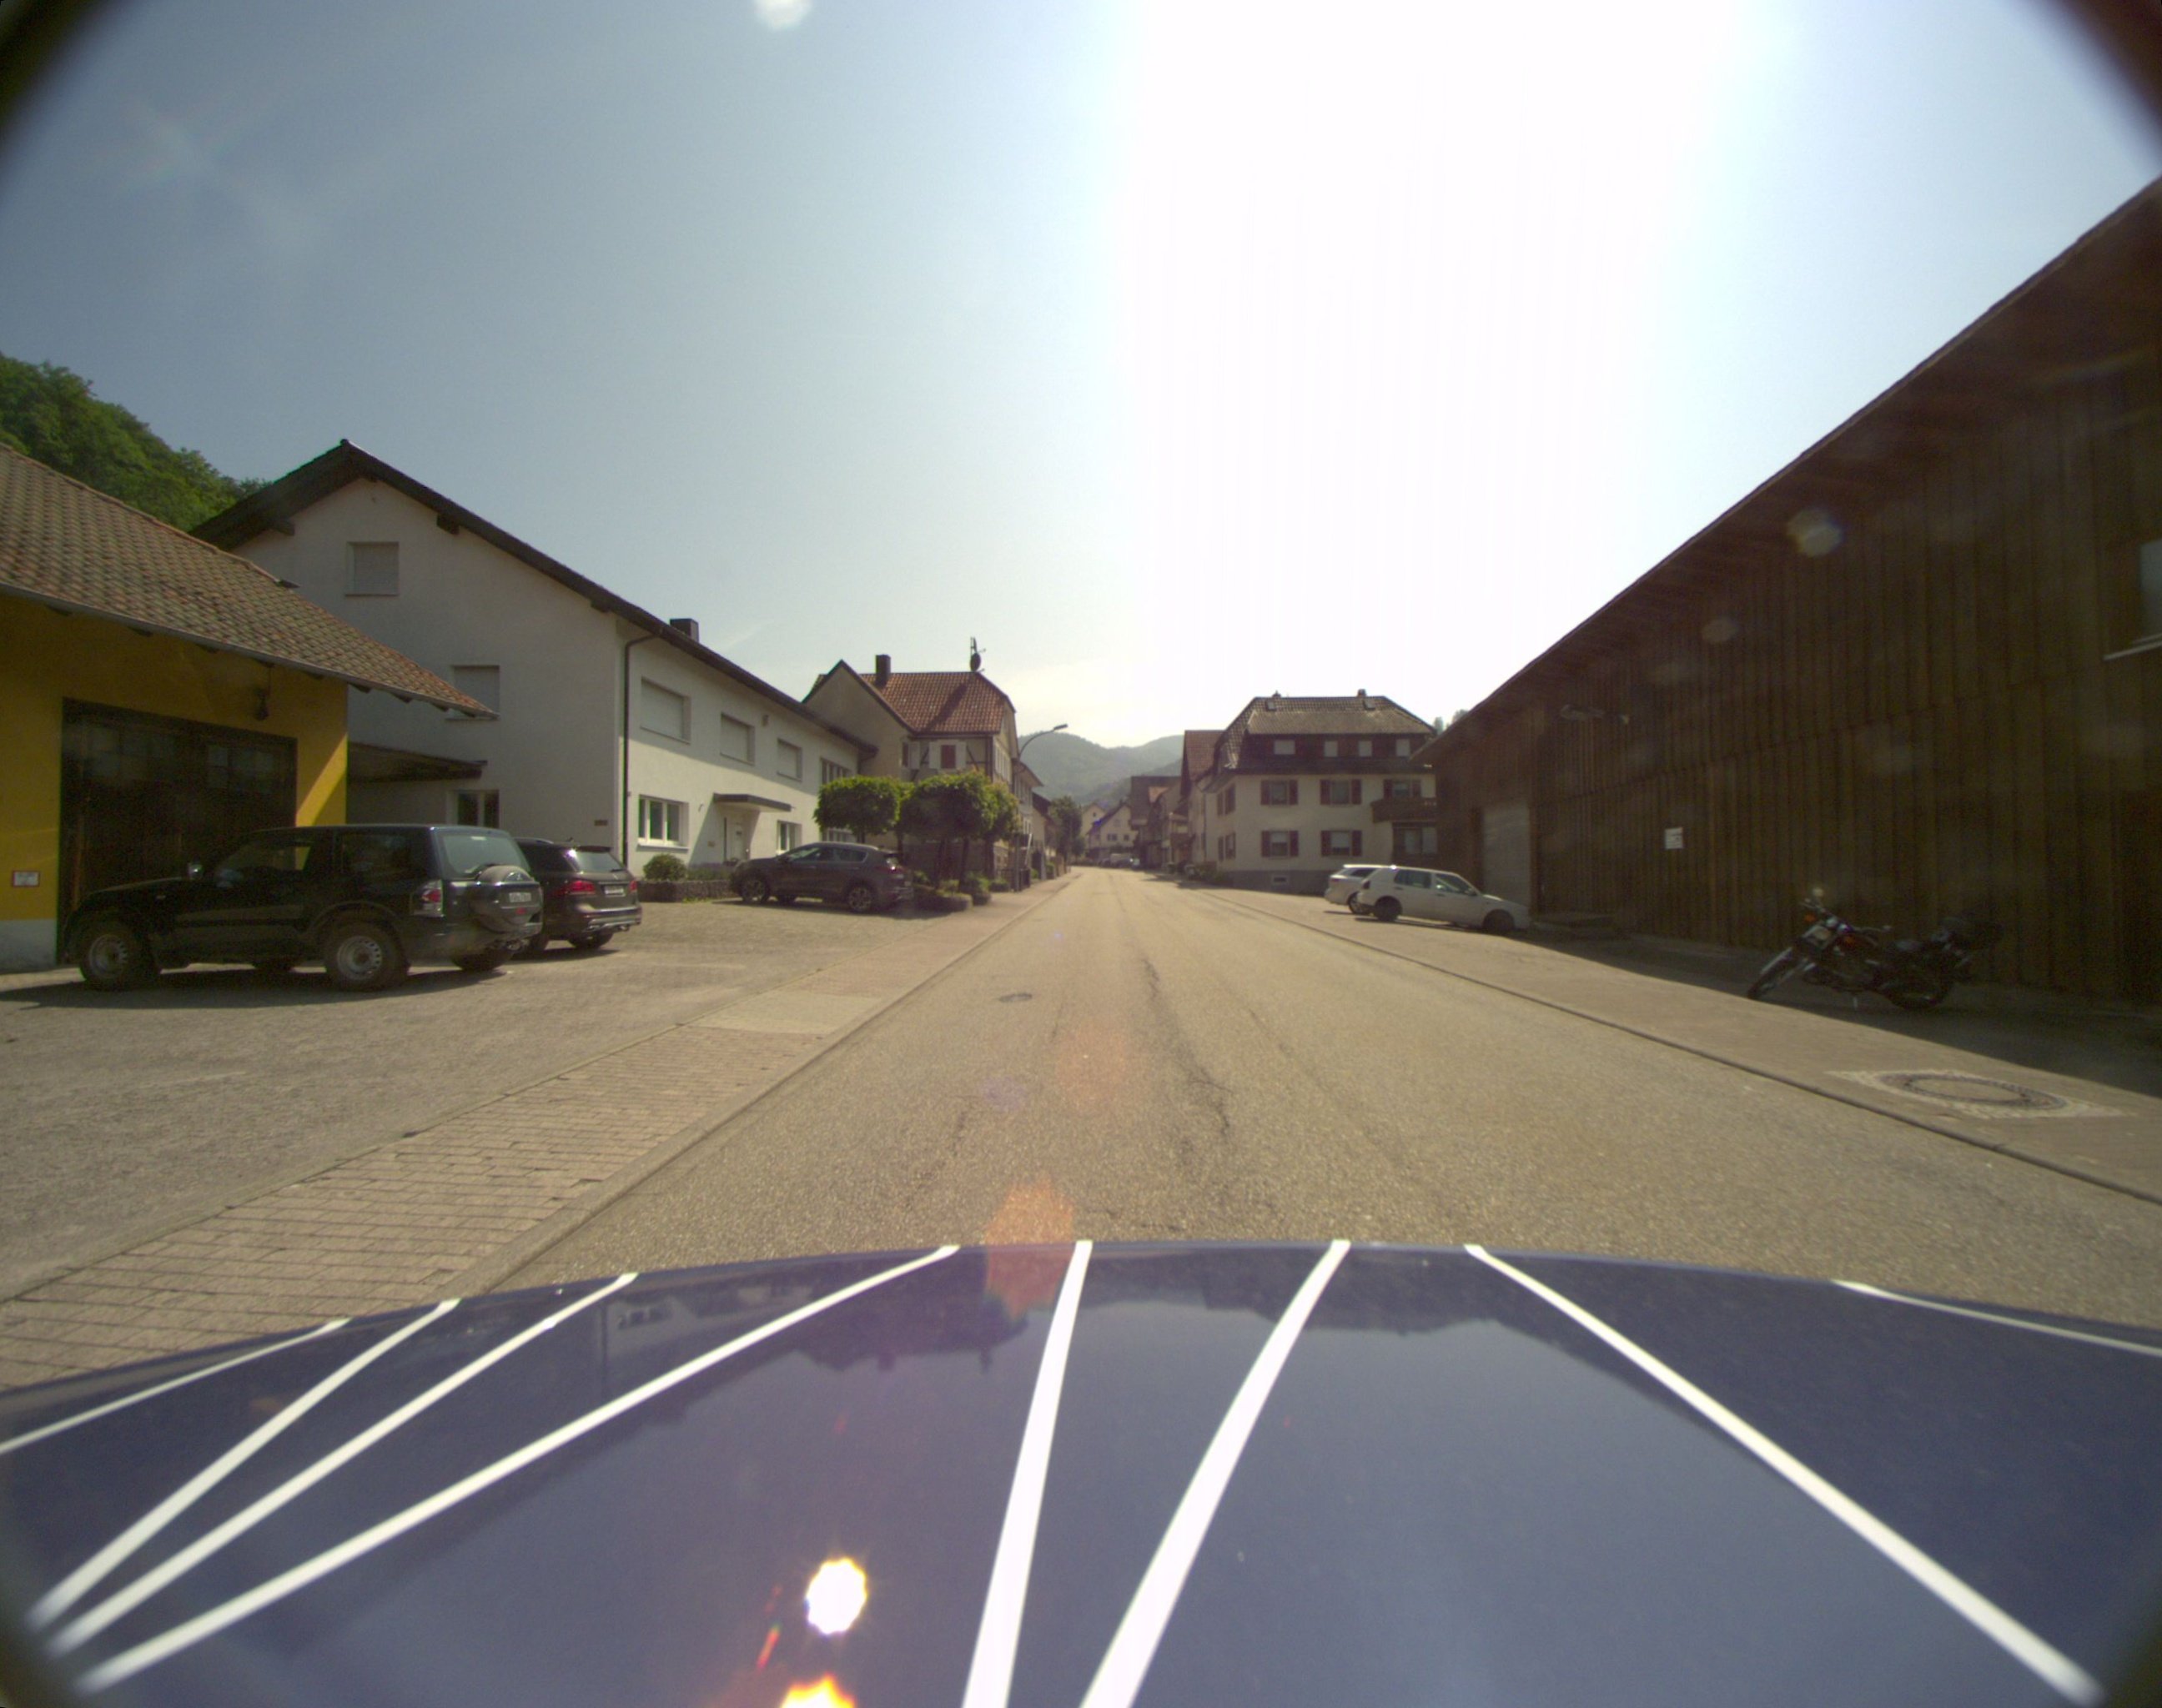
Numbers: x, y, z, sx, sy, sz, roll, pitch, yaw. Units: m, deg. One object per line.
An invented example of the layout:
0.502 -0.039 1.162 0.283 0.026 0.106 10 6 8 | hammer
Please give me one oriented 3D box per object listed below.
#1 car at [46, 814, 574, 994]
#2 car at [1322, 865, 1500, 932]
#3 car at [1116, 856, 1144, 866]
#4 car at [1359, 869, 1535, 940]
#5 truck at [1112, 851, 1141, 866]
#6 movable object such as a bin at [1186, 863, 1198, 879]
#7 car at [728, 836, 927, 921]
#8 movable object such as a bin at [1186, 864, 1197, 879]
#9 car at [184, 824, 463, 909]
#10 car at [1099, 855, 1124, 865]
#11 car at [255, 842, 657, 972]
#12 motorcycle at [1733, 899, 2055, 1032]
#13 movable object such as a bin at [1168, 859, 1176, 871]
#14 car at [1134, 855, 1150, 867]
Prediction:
-8.718 0.534 8.946 4.137 1.822 1.954 1 0 -2 | car
9.412 1.200 21.791 4.431 1.466 1.928 4 1 27 | car
7.178 1.063 111.734 4.105 1.494 1.754 0 0 0 | car
8.966 1.197 18.943 3.662 1.377 1.713 4 1 17 | car
6.972 0.648 116.703 4.177 2.253 1.999 -1 0 -4 | truck
7.470 1.172 51.235 0.677 1.060 0.621 0 0 0 | movable object such as a bin
-6.223 0.577 18.918 4.229 1.677 1.777 5 1 5 | car
7.607 1.210 52.372 0.677 1.060 0.653 0 0 0 | movable object such as a bin
-15.861 0.246 16.089 3.997 1.634 1.871 1 0 -1 | car
5.044 1.010 123.784 3.996 1.563 1.577 2 0 3 | car
-9.256 0.748 11.592 4.431 1.749 1.952 1 0 -2 | car
8.771 1.172 8.320 2.412 1.257 0.744 1 0 12 | motorcycle
8.544 1.032 71.494 0.719 1.174 0.598 2 0 2 | movable object such as a bin
8.381 0.981 104.348 1.774 1.544 4.285 -1 0 -1 | car
